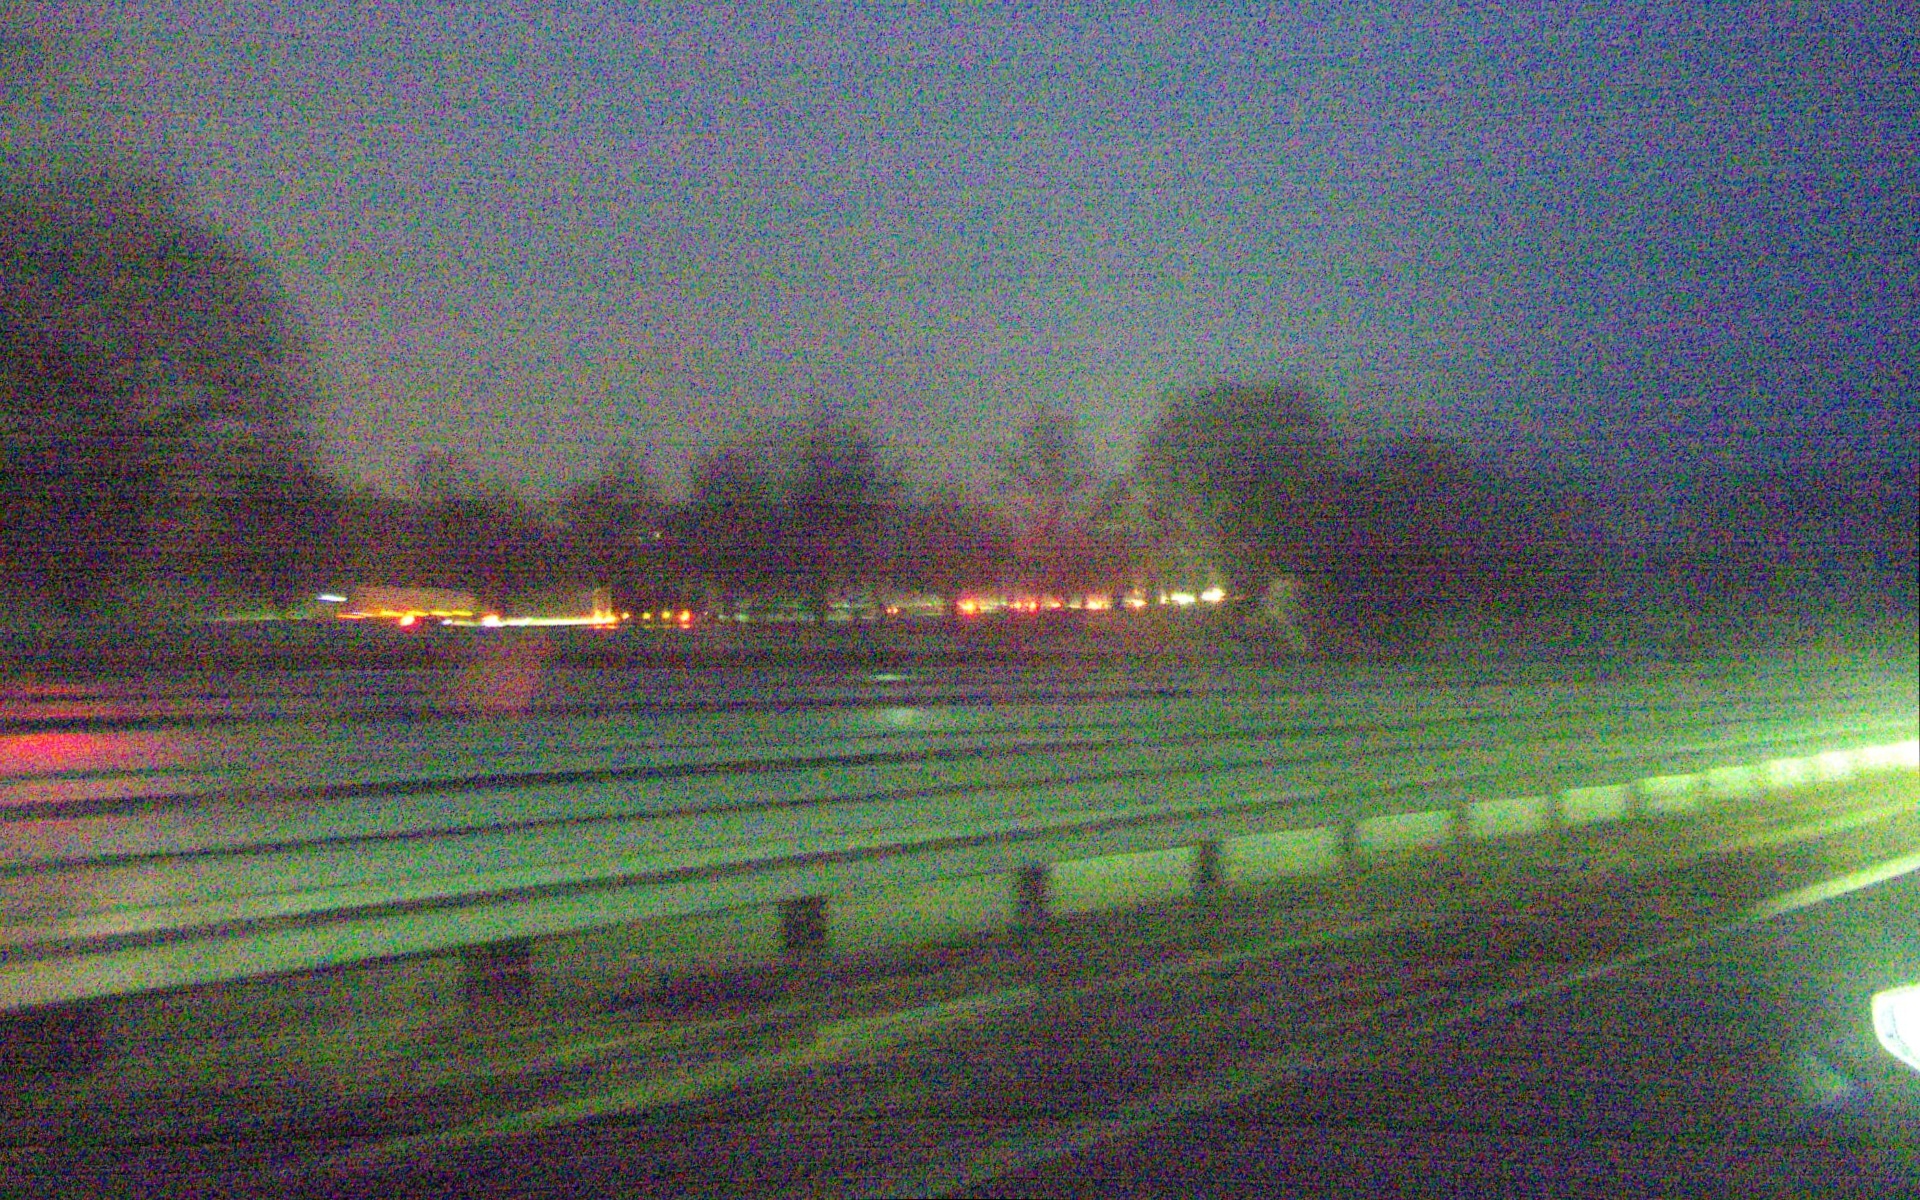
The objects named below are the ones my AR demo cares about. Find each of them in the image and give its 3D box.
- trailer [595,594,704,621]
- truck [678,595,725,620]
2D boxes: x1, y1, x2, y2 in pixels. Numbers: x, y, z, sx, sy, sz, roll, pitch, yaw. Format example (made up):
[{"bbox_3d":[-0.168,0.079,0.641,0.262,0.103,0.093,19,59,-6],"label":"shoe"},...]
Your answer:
[{"bbox_3d":[-34.411,0.837,111.990,2.650,2.736,12.822,3,1,33],"label":"trailer"},{"bbox_3d":[-30.363,0.910,118.218,2.639,2.726,4.744,3,1,33],"label":"truck"}]
